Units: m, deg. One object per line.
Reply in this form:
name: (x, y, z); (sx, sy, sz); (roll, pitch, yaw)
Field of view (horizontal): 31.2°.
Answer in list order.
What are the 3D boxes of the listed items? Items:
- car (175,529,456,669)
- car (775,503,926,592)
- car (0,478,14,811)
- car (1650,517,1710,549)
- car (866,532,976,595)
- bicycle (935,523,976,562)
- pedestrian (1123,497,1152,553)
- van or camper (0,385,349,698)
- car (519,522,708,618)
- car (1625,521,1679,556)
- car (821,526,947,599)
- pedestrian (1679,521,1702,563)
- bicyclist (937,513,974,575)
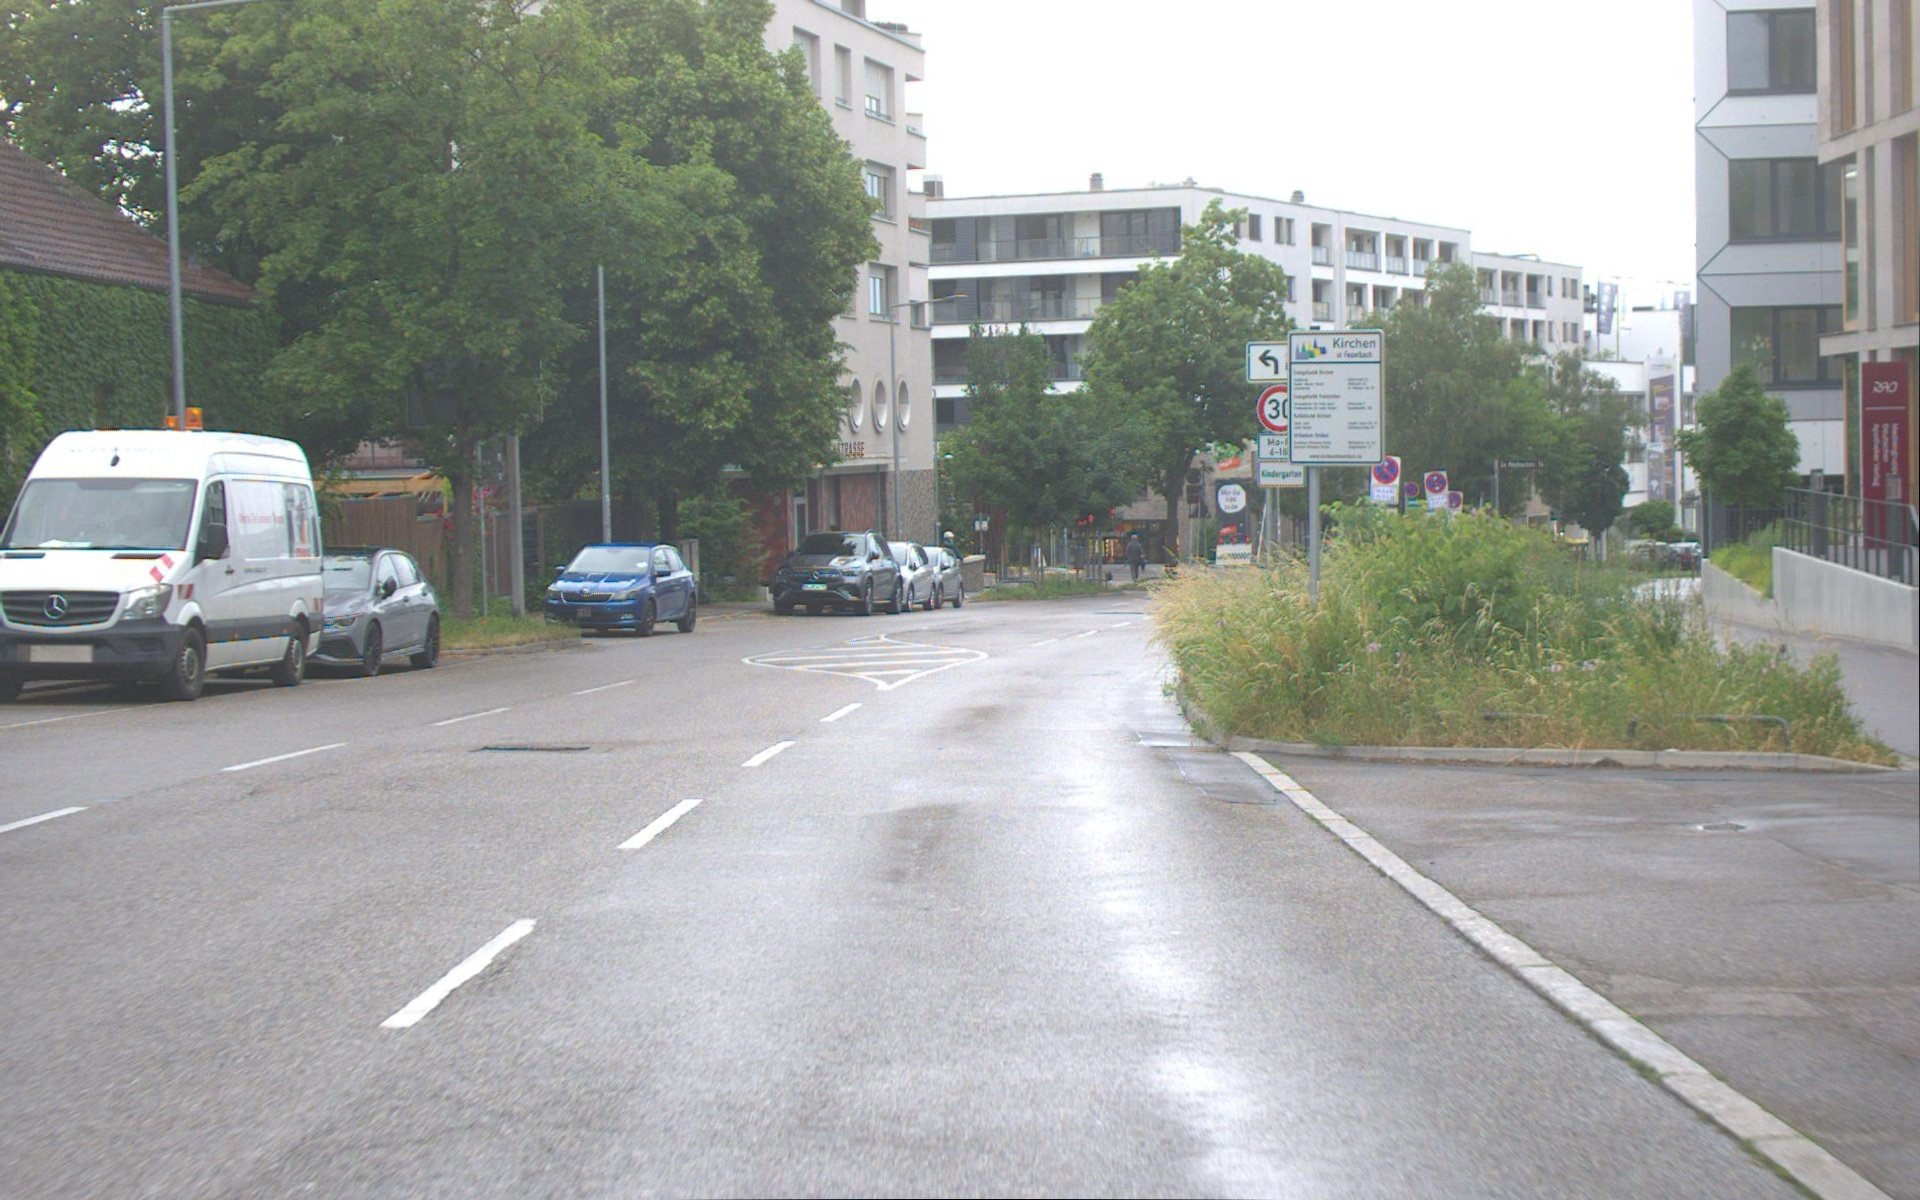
car: (-7.370, -0.051, 39.756); (1.994, 1.507, 4.422); (1, 1, 6)
car: (-2.260, -1.116, 72.603); (1.994, 1.780, 5.408); (1, 1, 11)
car: (-5.893, 0.258, 15.497); (1.895, 1.699, 4.509); (1, 1, 2)
car: (33.775, -3.136, 161.243); (1.810, 1.479, 4.489); (1, 1, 24)
car: (-0.911, -0.883, 82.540); (1.880, 1.458, 3.845); (1, 1, 11)
bicycle: (-0.102, -1.444, 86.178); (0.802, 0.975, 2.254); (1, 1, 6)
pedestrian: (6.455, -2.737, 124.950); (1.055, 2.007, 1.099); (1, 1, 3)
van or camper: (-7.891, -0.615, 33.536); (2.340, 2.755, 6.141); (1, 2, 4)
car: (-5.524, -0.504, 55.297); (1.994, 1.465, 4.184); (1, 1, 10)
car: (31.512, -2.812, 156.473); (1.548, 1.473, 3.656); (1, 2, 25)
car: (-1.691, -0.860, 78.138); (1.990, 1.587, 4.488); (1, 1, 10)
pedestrian: (31.619, -2.517, 148.741); (0.823, 1.790, 1.207); (0, 1, 18)
bicyclist: (-0.103, -1.407, 86.233); (0.801, 1.517, 1.201); (1, 1, 5)
